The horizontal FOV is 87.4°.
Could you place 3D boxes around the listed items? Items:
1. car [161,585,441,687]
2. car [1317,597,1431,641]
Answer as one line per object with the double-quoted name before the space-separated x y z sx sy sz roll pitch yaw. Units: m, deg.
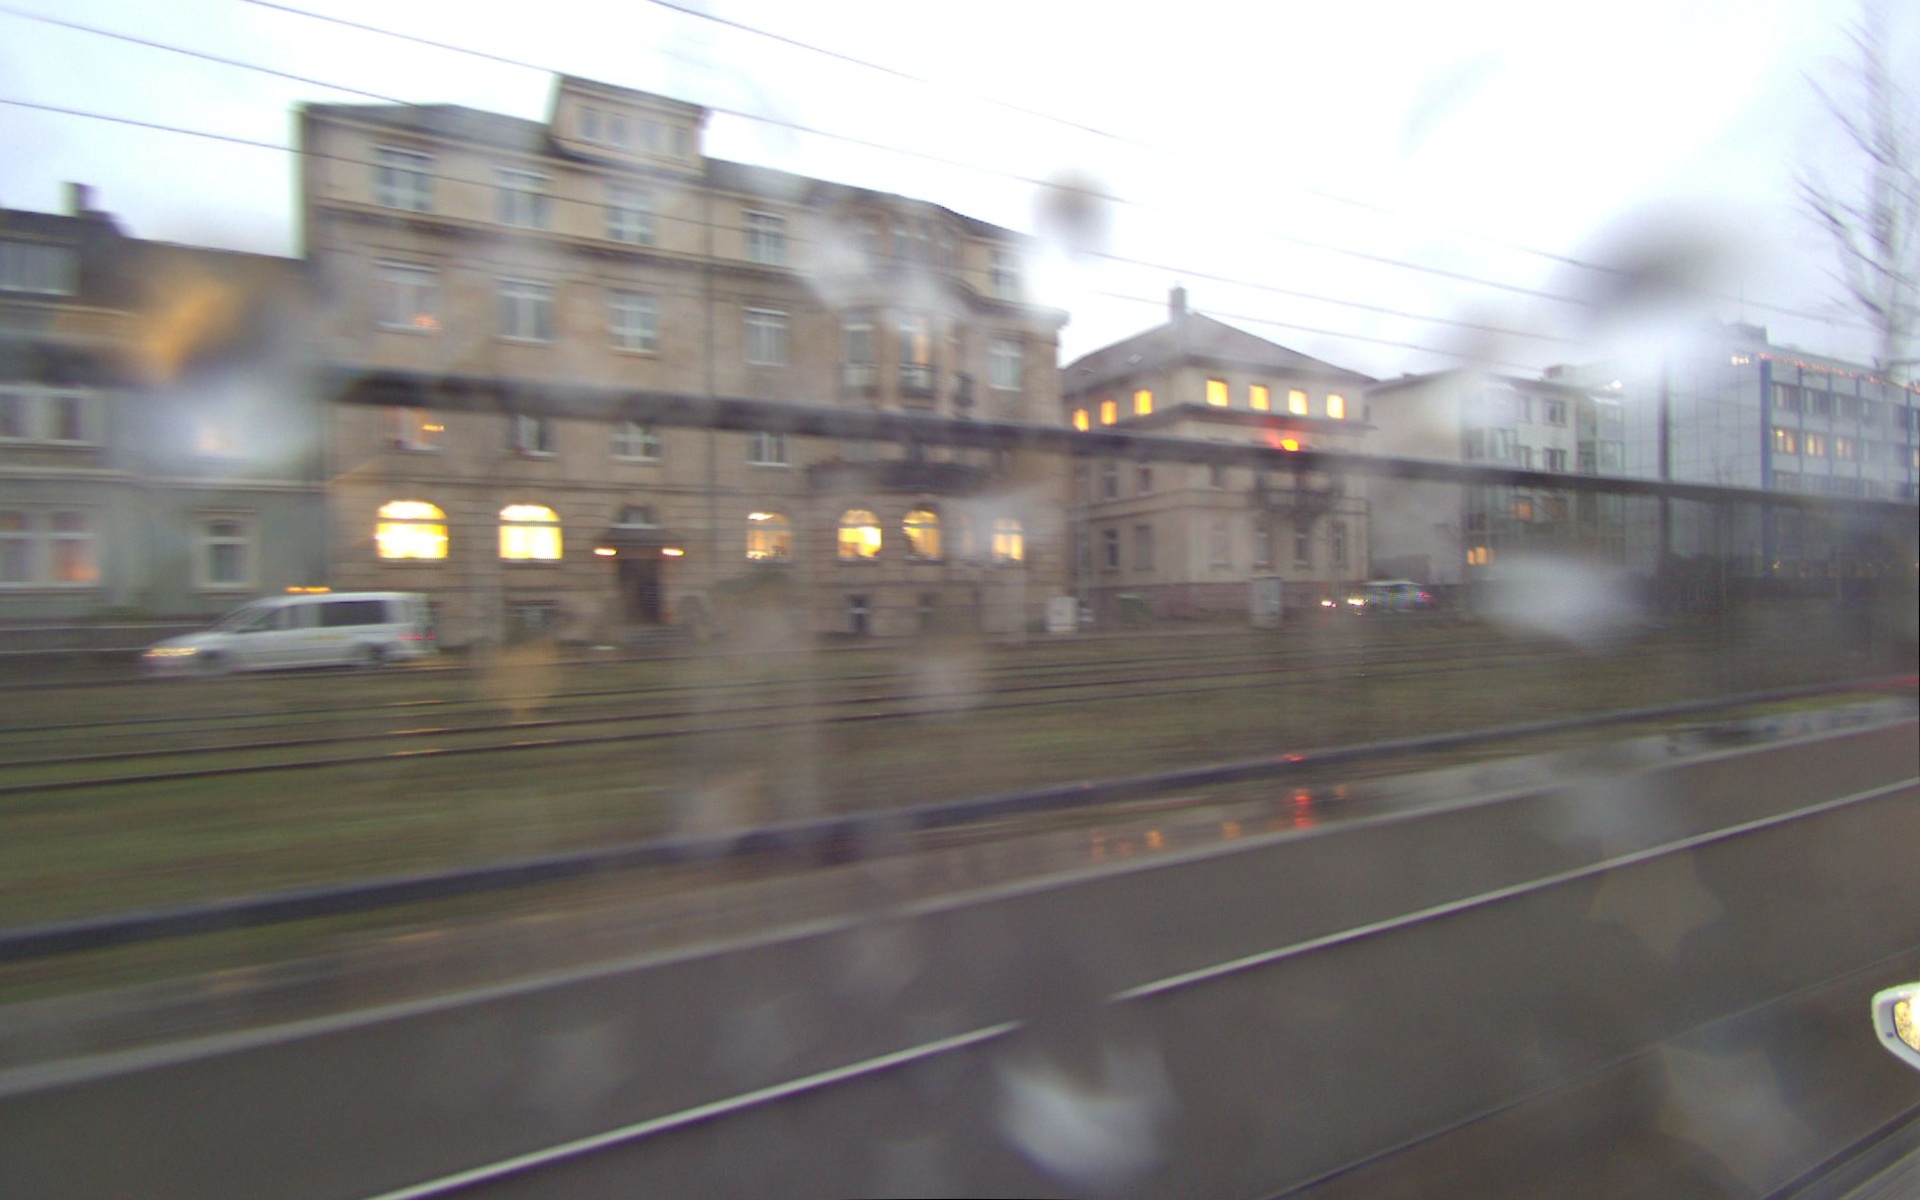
"car" -14.119 0.702 21.874 4.855 1.958 1.983 -1 0 -31
"car" 16.746 0.716 40.605 4.374 1.653 1.985 -1 0 -29
